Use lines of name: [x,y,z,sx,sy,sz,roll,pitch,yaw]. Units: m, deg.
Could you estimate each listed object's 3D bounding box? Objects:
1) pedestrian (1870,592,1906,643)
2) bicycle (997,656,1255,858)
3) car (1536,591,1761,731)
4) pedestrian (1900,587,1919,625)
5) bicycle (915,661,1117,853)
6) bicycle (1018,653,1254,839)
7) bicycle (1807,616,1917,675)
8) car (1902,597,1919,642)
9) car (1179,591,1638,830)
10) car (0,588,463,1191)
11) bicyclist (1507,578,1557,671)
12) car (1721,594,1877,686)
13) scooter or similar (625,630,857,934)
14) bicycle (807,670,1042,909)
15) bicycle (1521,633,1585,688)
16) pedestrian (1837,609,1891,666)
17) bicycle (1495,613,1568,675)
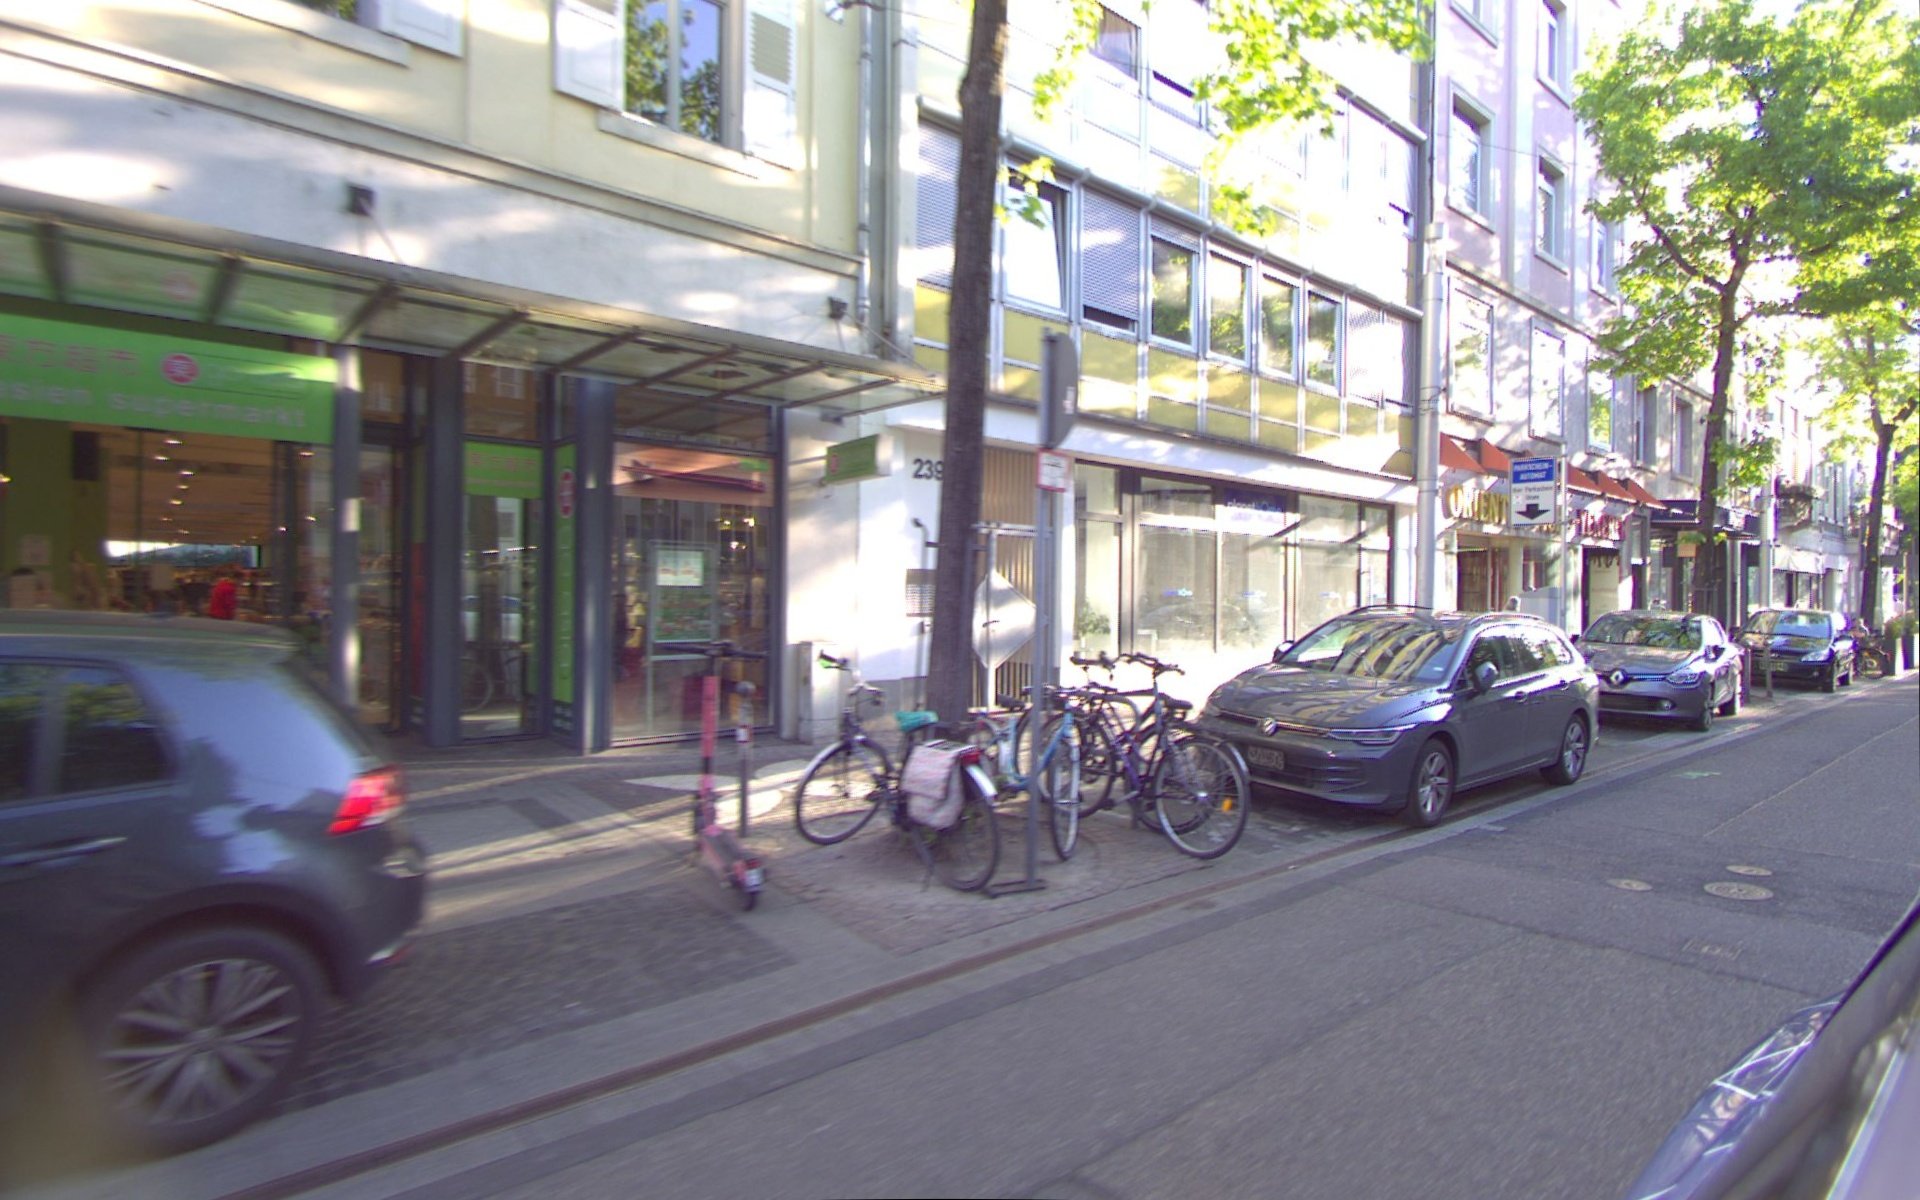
pedestrian: [31.498,0.588,34.354,0.742,1.663,0.804,1,1,-40]
bicycle: [0.961,0.910,6.451,0.277,0.976,2.044,0,0,-35]
car: [9.525,0.698,13.879,1.816,1.504,3.936,6,4,44]
pedestrian: [51.986,0.324,55.235,0.840,2.039,0.833,0,0,34]
bicycle: [0.310,0.939,6.519,0.486,0.976,1.544,0,0,-33]
bicycle: [1.106,0.906,6.829,0.326,0.976,1.903,0,0,-35]
bicycle: [19.802,0.981,22.263,0.535,1.152,1.736,0,2,-20]
car: [34.368,0.699,35.201,4.344,1.457,1.780,-1,4,-40]
car: [3.914,0.713,8.566,4.031,1.471,1.876,0,3,-39]
car: [-3.617,0.710,2.471,1.837,1.454,3.938,2,1,43]
bicyclist: [10.779,0.444,19.076,0.589,1.705,0.640,0,1,-42]
car: [16.383,0.694,19.714,3.593,1.475,1.804,0,5,-43]
scooter or similar: [-1.156,0.789,5.087,0.662,1.211,1.544,0,0,-31]
bicycle: [-0.249,0.927,5.444,0.486,0.976,1.543,0,0,-36]
bicycle: [9.901,0.992,16.883,1.580,0.817,0.467,0,1,-42]
pedestrian: [21.045,0.855,23.563,0.575,1.281,0.820,0,0,-35]
bicycle: [10.813,0.810,19.123,1.829,1.087,0.648,0,1,-42]
